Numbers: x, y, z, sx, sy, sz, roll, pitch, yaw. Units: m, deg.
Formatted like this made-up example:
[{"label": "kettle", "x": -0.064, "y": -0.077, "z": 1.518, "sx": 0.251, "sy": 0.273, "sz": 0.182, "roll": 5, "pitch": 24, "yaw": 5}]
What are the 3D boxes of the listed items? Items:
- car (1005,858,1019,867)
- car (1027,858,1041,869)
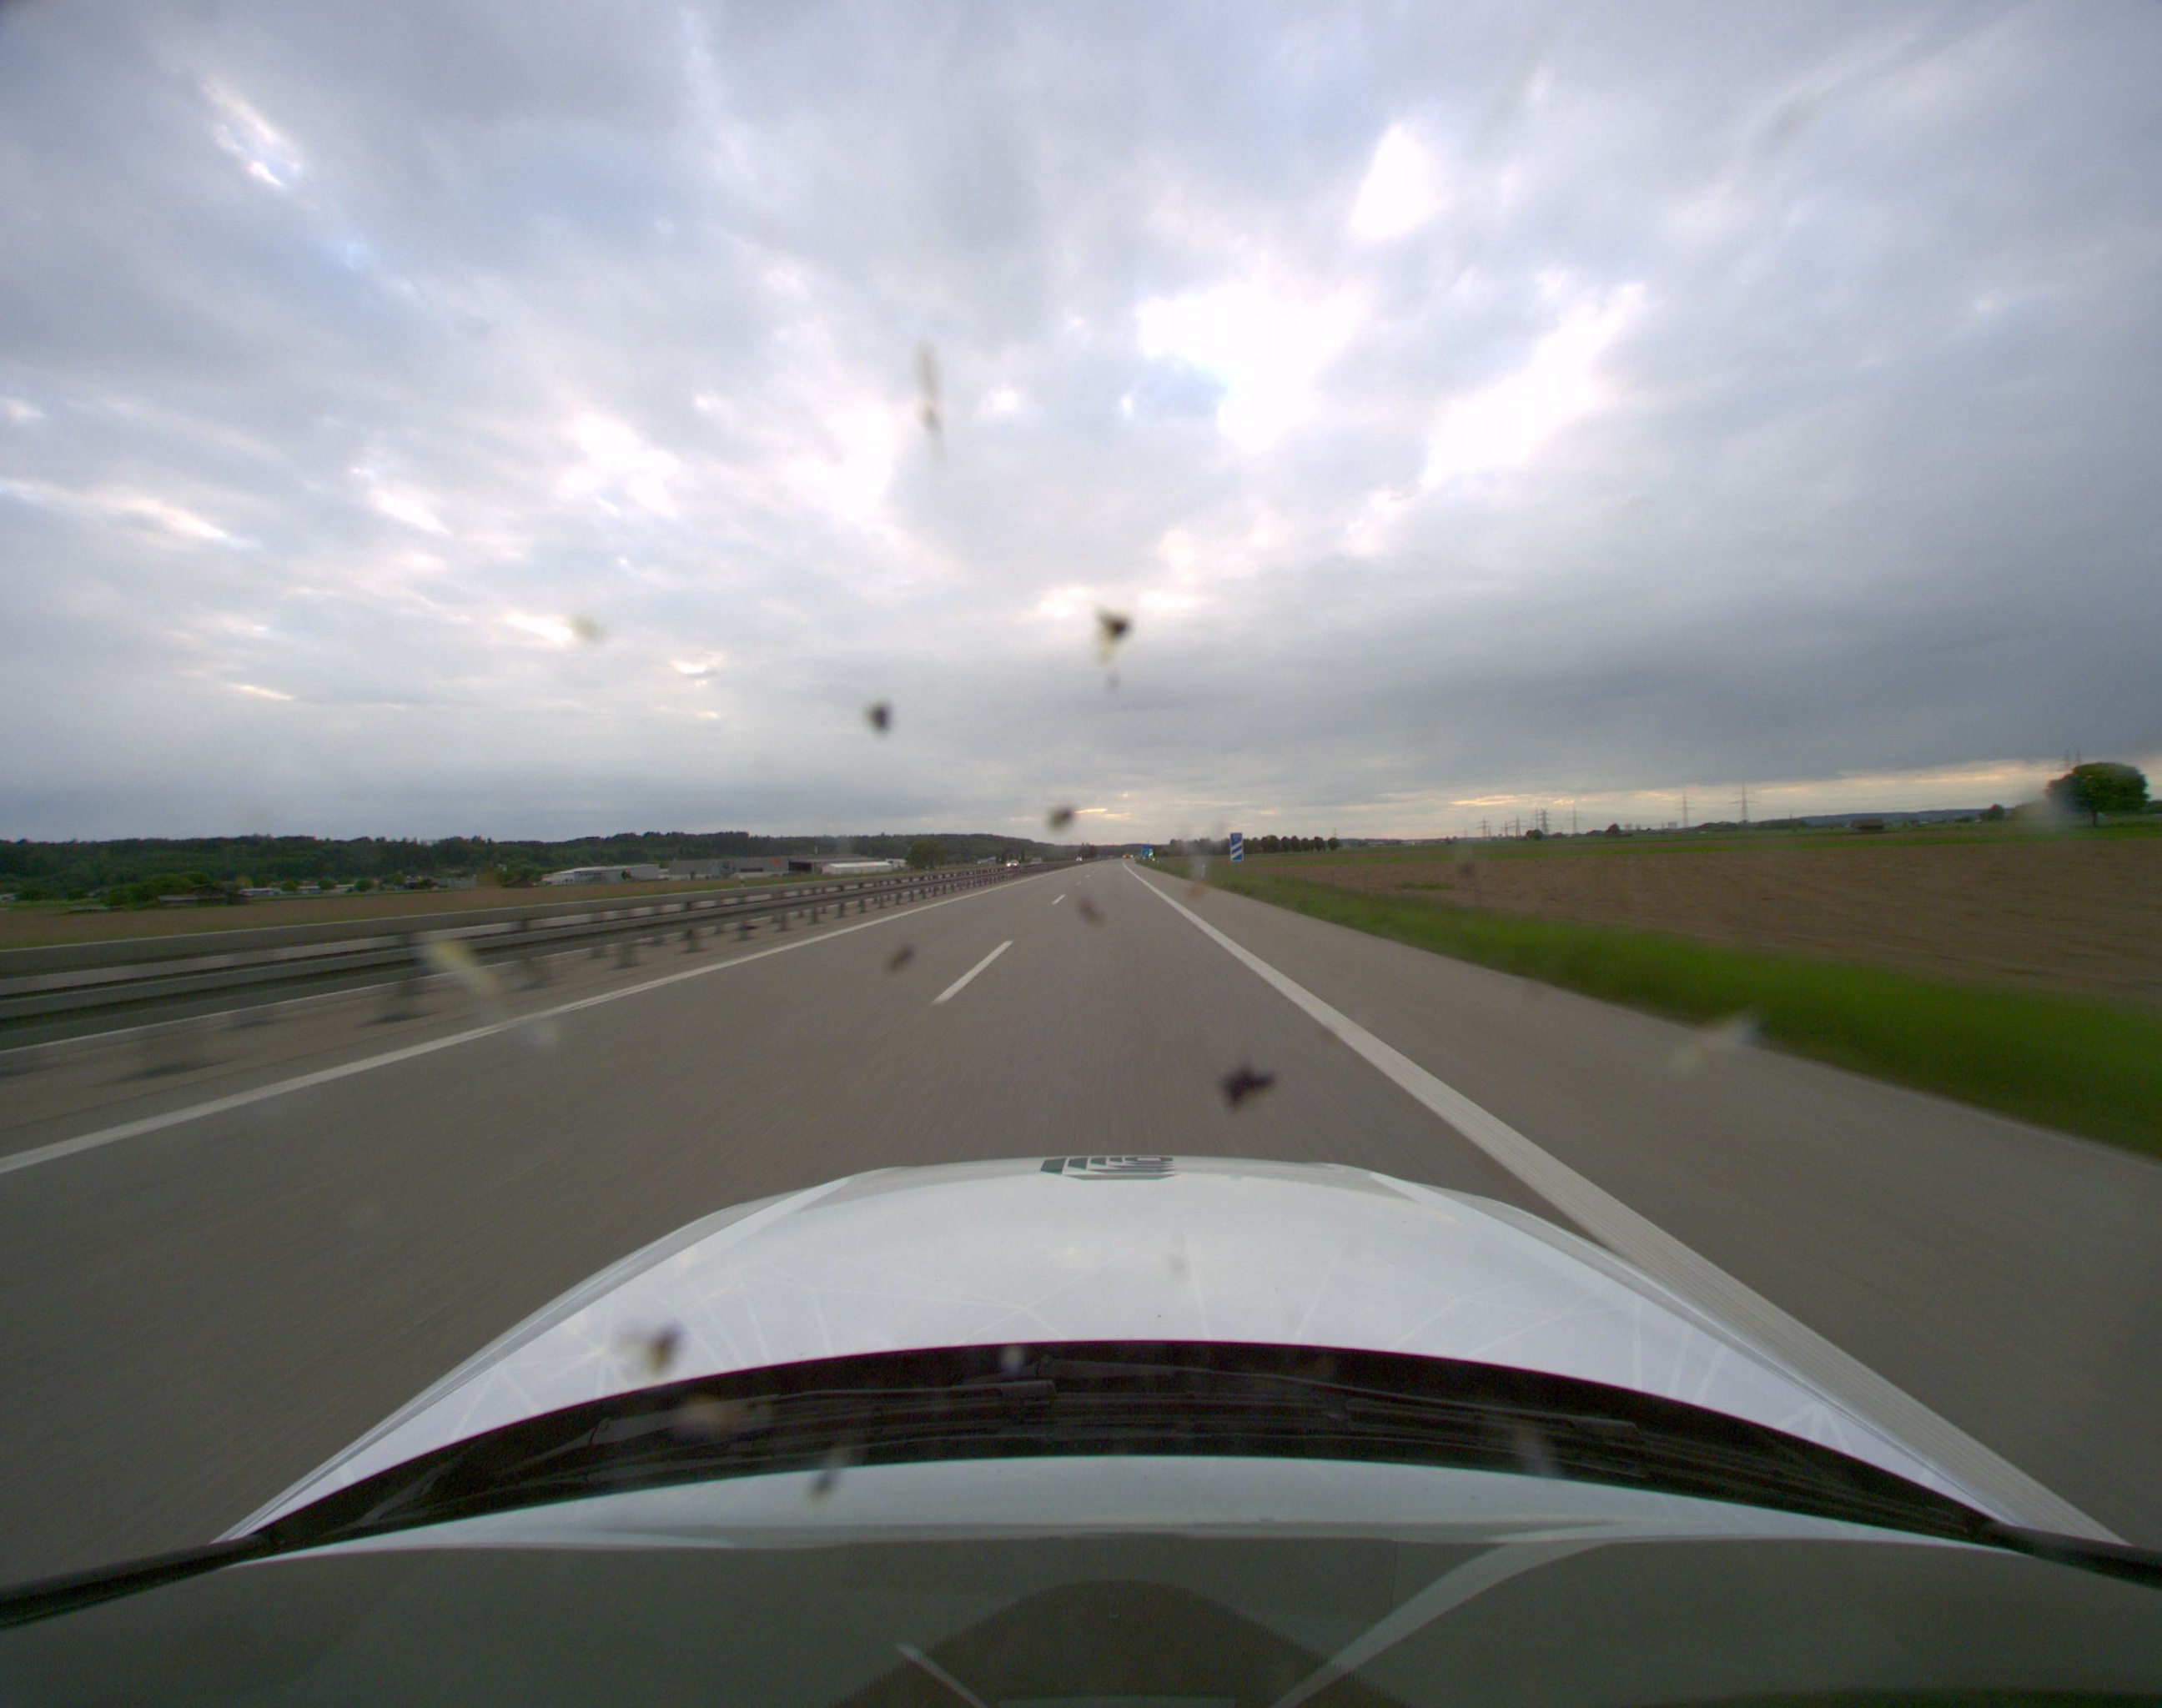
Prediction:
[{"label": "car", "x": -12.423, "y": 1.580, "z": 146.702, "sx": 1.986, "sy": 1.496, "sz": 4.763, "roll": -2, "pitch": 0, "yaw": 1}, {"label": "car", "x": -7.867, "y": 1.614, "z": 136.947, "sx": 1.986, "sy": 1.701, "sz": 4.304, "roll": -1, "pitch": 0, "yaw": 2}]
